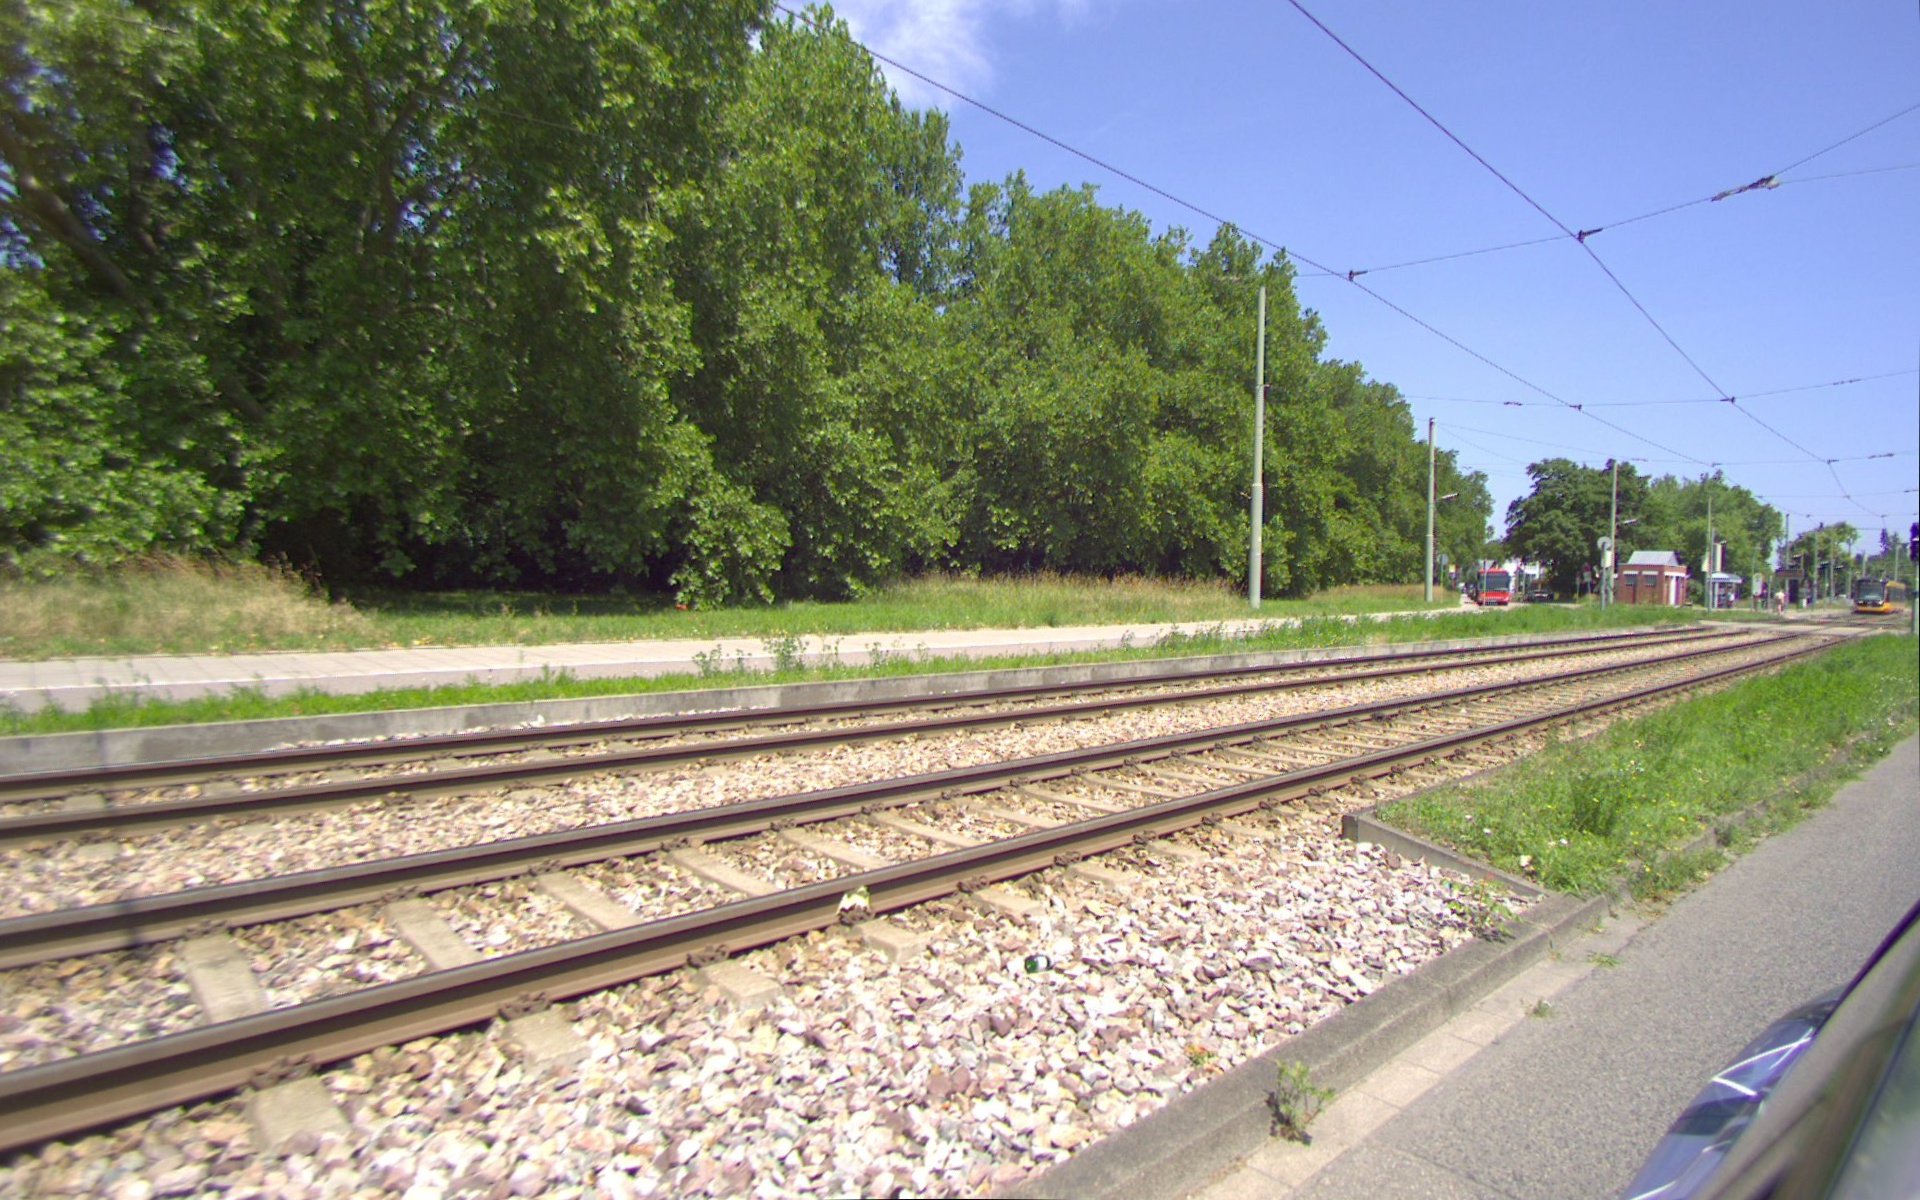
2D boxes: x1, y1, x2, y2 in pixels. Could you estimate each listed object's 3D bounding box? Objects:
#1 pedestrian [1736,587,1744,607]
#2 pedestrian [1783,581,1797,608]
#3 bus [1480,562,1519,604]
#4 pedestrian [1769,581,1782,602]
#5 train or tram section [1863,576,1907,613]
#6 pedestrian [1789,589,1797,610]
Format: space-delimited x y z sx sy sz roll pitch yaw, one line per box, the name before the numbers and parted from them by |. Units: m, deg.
pedestrian | 68.233 -0.267 88.514 0.727 1.796 0.382 -1 1 -41
pedestrian | 55.161 -0.358 67.261 0.632 1.781 0.807 0 1 33
bus | 47.973 -1.515 90.180 2.741 3.482 12.331 0 1 27
pedestrian | 71.932 -0.729 89.274 0.646 1.786 0.707 1 2 -42
train or tram section | 88.478 -0.547 96.767 7.137 3.364 2.522 0 2 -43
pedestrian | 67.848 -0.041 82.413 0.437 1.666 0.361 1 1 -41
